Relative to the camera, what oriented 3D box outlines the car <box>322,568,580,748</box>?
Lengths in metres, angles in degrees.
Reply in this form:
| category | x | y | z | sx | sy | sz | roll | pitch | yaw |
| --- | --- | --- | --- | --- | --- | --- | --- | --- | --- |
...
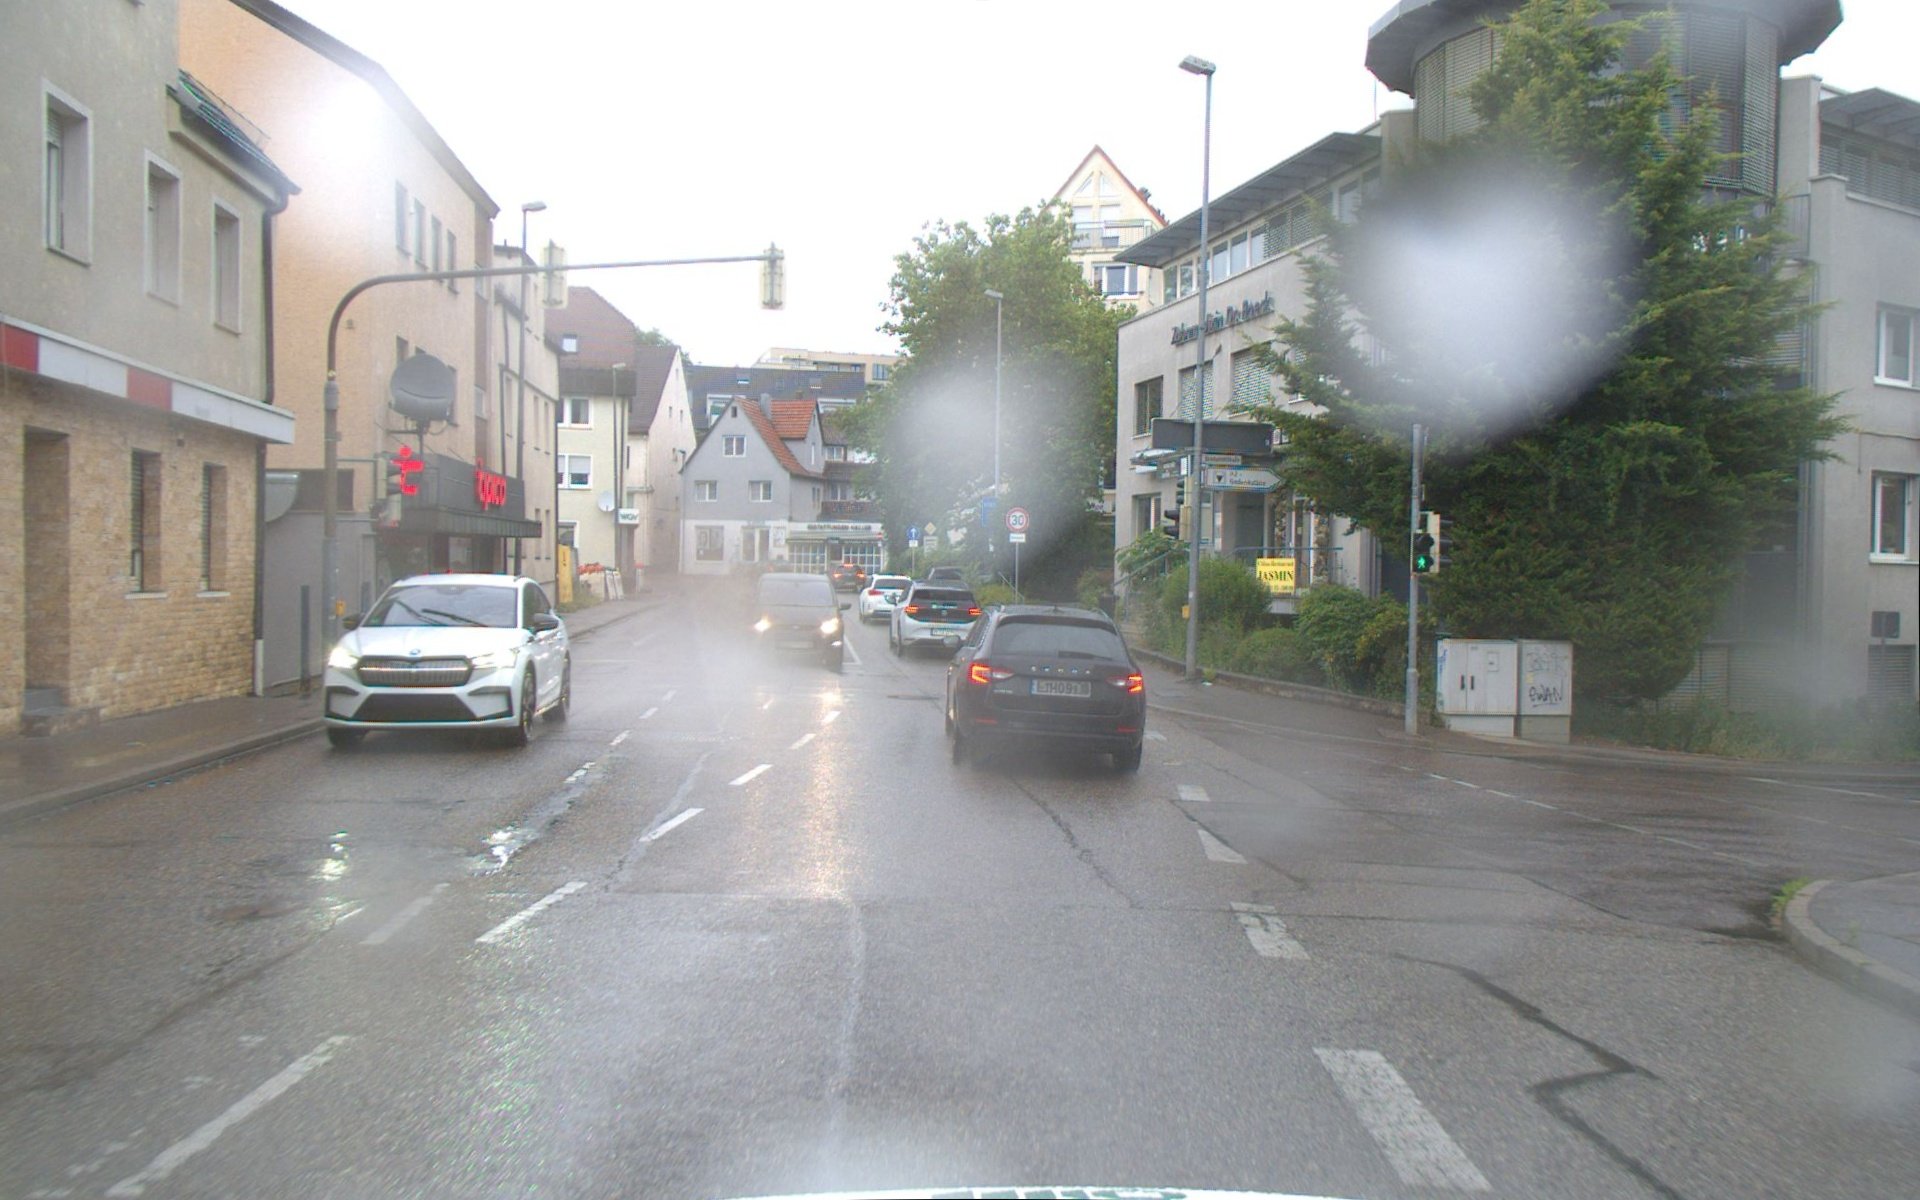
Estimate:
| category | x | y | z | sx | sy | sz | roll | pitch | yaw |
| --- | --- | --- | --- | --- | --- | --- | --- | --- | --- |
| car | -5.055 | 0.482 | 16.995 | 1.750 | 1.587 | 4.331 | 0 | 1 | -7 |

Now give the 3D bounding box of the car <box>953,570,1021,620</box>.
| category | x | y | z | sx | sy | sz | roll | pitch | yaw |
| --- | --- | --- | --- | --- | --- | --- | --- | --- | --- |
| car | 0.895 | -0.183 | 56.949 | 1.817 | 1.670 | 3.532 | 0 | 1 | -8 |

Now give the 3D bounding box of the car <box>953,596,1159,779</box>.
| category | x | y | z | sx | sy | sz | roll | pitch | yaw |
| --- | --- | --- | --- | --- | --- | --- | --- | --- | --- |
| car | 0.998 | 0.759 | 16.546 | 1.744 | 1.509 | 4.248 | 2 | 0 | 4 |

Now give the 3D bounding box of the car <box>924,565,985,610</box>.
| category | x | y | z | sx | sy | sz | roll | pitch | yaw |
| --- | --- | --- | --- | --- | --- | --- | --- | --- | --- |
| car | -0.245 | -0.489 | 62.862 | 1.817 | 1.670 | 3.864 | 0 | 1 | -8 |

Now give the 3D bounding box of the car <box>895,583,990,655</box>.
| category | x | y | z | sx | sy | sz | roll | pitch | yaw |
| --- | --- | --- | --- | --- | --- | --- | --- | --- | --- |
| car | -0.426 | 0.363 | 34.798 | 1.782 | 1.383 | 3.987 | 1 | 0 | -3 |

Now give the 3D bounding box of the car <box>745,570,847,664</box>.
| category | x | y | z | sx | sy | sz | roll | pitch | yaw |
| --- | --- | --- | --- | --- | --- | --- | --- | --- | --- |
| car | -3.138 | 0.256 | 31.390 | 1.750 | 1.590 | 4.396 | 2 | 1 | -7 |

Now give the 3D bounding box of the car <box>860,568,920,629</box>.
| category | x | y | z | sx | sy | sz | roll | pitch | yaw |
| --- | --- | --- | --- | --- | --- | --- | --- | --- | --- |
| car | -2.179 | -0.012 | 50.651 | 1.694 | 1.618 | 4.180 | 2 | -2 | -4 |

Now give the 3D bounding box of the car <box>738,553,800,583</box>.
| category | x | y | z | sx | sy | sz | roll | pitch | yaw |
| --- | --- | --- | --- | --- | --- | --- | --- | --- | --- |
| car | -11.175 | -1.857 | 96.773 | 1.882 | 1.711 | 3.633 | 0 | 0 | -41 |

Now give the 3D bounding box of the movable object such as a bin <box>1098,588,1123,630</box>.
| category | x | y | z | sx | sy | sz | roll | pitch | yaw |
| --- | --- | --- | --- | --- | --- | --- | --- | --- | --- |
| movable object such as a bin | 3.787 | 0.227 | 41.633 | 0.500 | 0.961 | 0.603 | 4 | 5 | 12 |

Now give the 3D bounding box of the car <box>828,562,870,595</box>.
| category | x | y | z | sx | sy | sz | roll | pitch | yaw |
| --- | --- | --- | --- | --- | --- | --- | --- | --- | --- |
| car | -5.678 | -1.088 | 84.198 | 1.858 | 1.618 | 3.680 | 0 | 0 | -9 |
